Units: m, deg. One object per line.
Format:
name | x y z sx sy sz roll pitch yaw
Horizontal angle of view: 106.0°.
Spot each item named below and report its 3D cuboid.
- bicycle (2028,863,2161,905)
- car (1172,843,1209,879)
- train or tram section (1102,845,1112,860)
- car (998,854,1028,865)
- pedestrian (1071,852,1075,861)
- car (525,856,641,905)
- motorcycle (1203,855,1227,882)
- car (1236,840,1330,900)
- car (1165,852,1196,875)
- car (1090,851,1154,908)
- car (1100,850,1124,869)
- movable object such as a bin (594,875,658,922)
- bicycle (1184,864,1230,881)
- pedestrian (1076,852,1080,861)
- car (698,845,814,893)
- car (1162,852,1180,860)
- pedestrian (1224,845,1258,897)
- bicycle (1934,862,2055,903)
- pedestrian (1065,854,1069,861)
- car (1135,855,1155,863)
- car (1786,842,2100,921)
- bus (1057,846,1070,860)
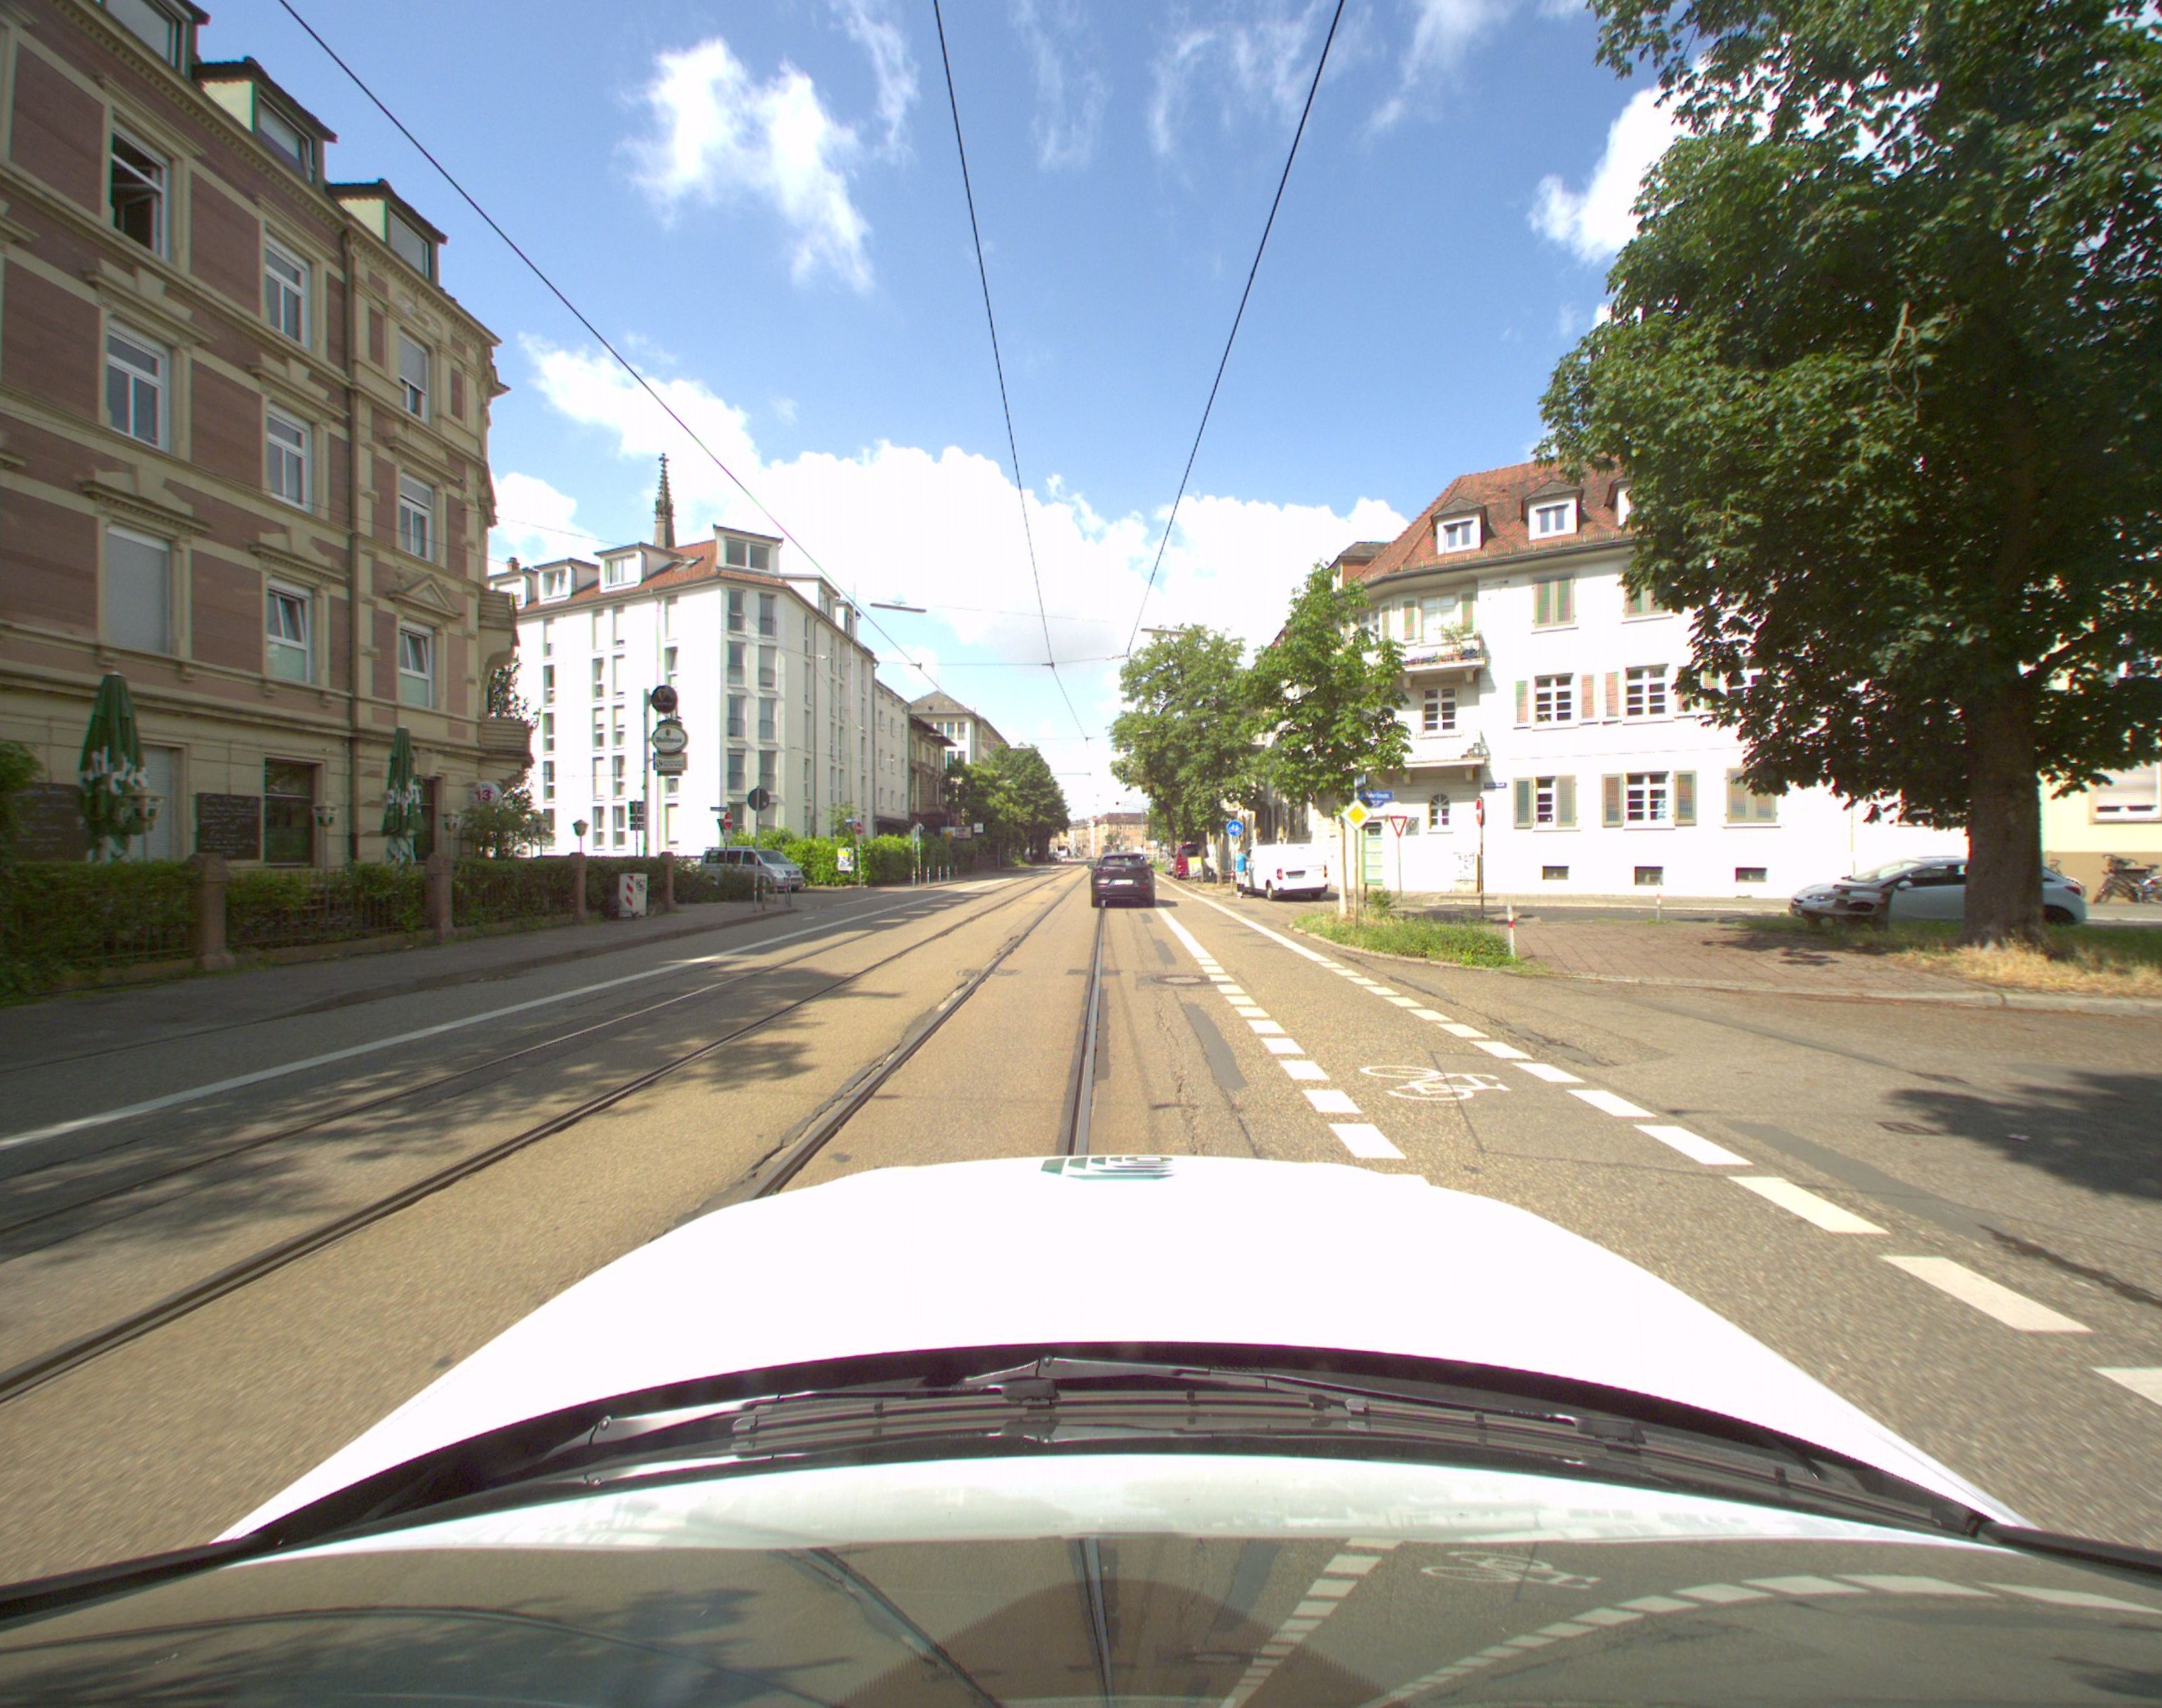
bicycle | 25.620 0.741 20.631 2.108 1.034 0.539 0 0 23
car | 6.152 0.373 46.020 1.714 1.968 4.210 0 0 2
train or tram section | 7.161 -0.389 223.540 2.561 3.772 13.033 -1 0 2
car | -8.758 0.672 105.689 3.737 1.287 1.609 2 0 -3
pedestrian | -1.791 0.567 184.534 0.882 2.013 0.617 0 0 -2
car | -16.989 0.867 27.917 1.377 1.567 3.201 0 0 21
motorcycle | 6.417 0.684 39.120 0.791 1.271 2.423 0 0 1
car | 7.102 0.504 29.167 1.783 1.938 4.983 0 0 -4
car | 6.512 0.608 53.754 1.714 1.424 3.590 0 0 1
car | 1.158 0.679 23.678 1.714 1.526 3.590 0 0 1
car | 2.638 0.492 70.225 1.986 1.529 4.001 2 0 1
movable object such as a bin | -10.236 0.981 18.356 0.742 0.988 1.114 2 0 1
bicycle | 6.534 0.963 42.228 2.267 0.861 0.672 0 0 0
pedestrian | -0.776 0.568 184.501 0.882 2.013 0.617 0 0 -2
car | -14.239 0.633 35.689 4.620 2.013 2.058 0 0 23
car | 20.886 0.459 188.589 3.829 1.618 1.622 2 0 -30
pedestrian | 5.739 0.598 29.219 0.961 1.835 0.813 0 0 -16
bicycle | 24.173 0.741 21.590 2.108 1.034 0.539 0 0 23
pedestrian | -2.744 0.677 160.096 0.749 1.510 0.823 0 0 -3
car | 13.425 0.982 171.006 3.814 1.618 1.629 2 0 -16
car | 16.742 0.512 16.129 3.949 1.411 1.662 0 -1 30
bus | -4.473 -0.342 206.035 2.683 3.421 11.001 2 0 -4
